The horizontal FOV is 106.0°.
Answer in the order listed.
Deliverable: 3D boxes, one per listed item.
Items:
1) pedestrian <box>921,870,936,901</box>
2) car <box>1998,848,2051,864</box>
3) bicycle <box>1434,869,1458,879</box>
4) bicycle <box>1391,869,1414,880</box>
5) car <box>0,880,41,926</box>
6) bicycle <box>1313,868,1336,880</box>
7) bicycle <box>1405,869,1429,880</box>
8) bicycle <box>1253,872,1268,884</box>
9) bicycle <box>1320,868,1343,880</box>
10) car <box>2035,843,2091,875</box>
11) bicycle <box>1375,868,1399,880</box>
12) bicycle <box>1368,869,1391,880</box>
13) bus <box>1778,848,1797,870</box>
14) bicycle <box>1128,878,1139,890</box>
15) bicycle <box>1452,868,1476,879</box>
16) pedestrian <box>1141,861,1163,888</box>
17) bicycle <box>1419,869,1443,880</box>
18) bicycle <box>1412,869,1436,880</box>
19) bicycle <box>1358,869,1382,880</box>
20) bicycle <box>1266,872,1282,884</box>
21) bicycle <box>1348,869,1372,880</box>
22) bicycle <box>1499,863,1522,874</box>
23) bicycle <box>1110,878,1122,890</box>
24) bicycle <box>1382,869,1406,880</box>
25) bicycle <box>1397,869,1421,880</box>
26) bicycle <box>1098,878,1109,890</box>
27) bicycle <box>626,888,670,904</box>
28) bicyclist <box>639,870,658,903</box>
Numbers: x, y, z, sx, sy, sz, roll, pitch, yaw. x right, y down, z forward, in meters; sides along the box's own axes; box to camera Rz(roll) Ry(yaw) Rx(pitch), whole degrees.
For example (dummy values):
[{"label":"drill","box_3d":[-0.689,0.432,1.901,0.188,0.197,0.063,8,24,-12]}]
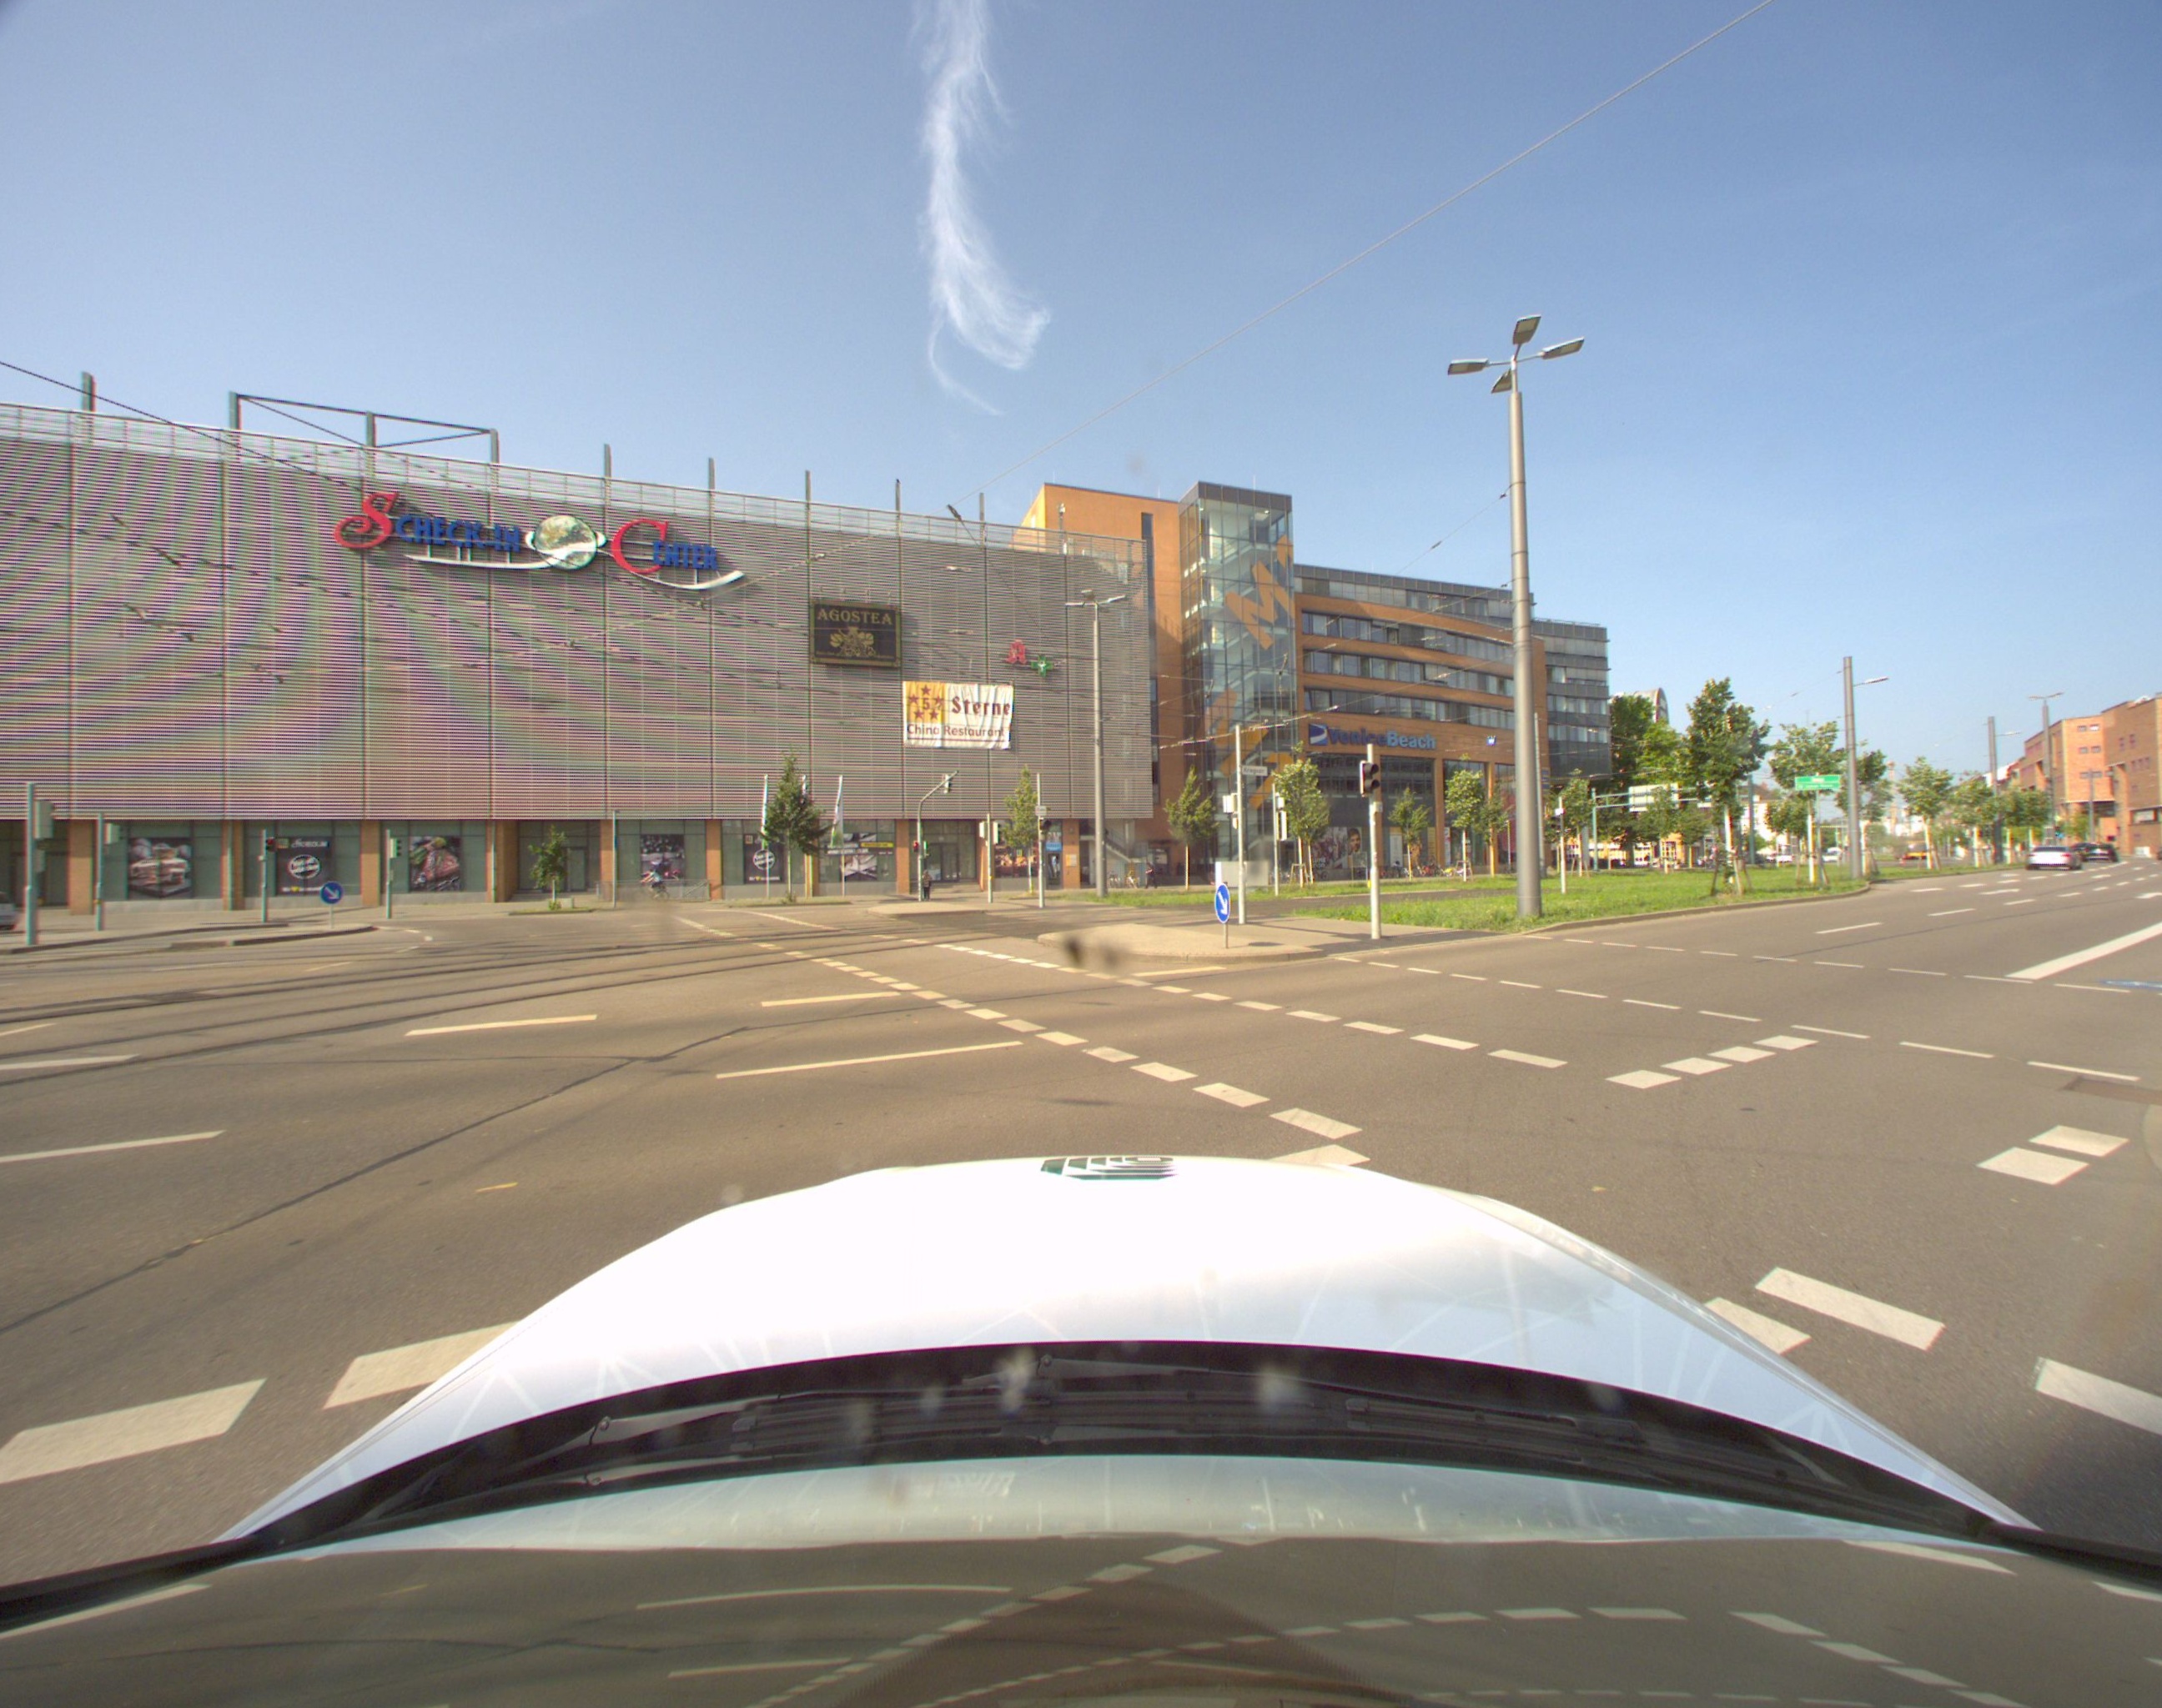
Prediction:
[{"label":"pedestrian","box_3d":[-7.919,1.630,42.269,0.590,1.579,0.758,0,-2,-23]},{"label":"car","box_3d":[100.068,0.212,86.424,1.878,1.624,3.579,0,-1,-43]},{"label":"bicycle","box_3d":[31.644,1.735,70.602,0.574,0.921,2.038,0,-1,-24]},{"label":"bicycle","box_3d":[26.970,1.713,68.343,0.574,0.921,2.038,0,-1,-24]},{"label":"car","box_3d":[-38.757,1.677,27.896,3.402,1.560,1.731,1,-2,-20]},{"label":"bicycle","box_3d":[19.310,1.603,64.699,0.574,0.921,2.038,0,-1,-24]},{"label":"bicycle","box_3d":[28.492,1.732,69.160,0.574,0.921,2.038,0,-1,-24]},{"label":"bicycle","box_3d":[12.881,1.722,58.412,0.257,0.887,1.457,1,-2,-22]},{"label":"bicycle","box_3d":[19.968,1.617,65.035,0.574,0.921,2.038,0,-1,-24]},{"label":"car","box_3d":[56.847,0.335,47.120,3.906,1.756,1.692,2,-3,-35]},{"label":"bicycle","box_3d":[25.377,1.668,67.589,0.574,0.921,2.038,0,-1,-24]},{"label":"bicycle","box_3d":[24.612,1.693,67.163,0.574,0.921,2.038,0,-1,-24]},{"label":"bus","box_3d":[137.414,0.956,158.334,2.720,3.921,12.290,0,-2,42]},{"label":"bicycle","box_3d":[3.432,1.959,53.582,0.361,0.752,1.018,-1,-1,-17]},{"label":"bicycle","box_3d":[33.722,1.731,71.781,0.574,0.921,2.038,0,-1,-24]},{"label":"pedestrian","box_3d":[4.636,1.326,53.077,1.176,1.719,0.815,-1,-1,-19]},{"label":"bicycle","box_3d":[30.064,1.741,70.034,0.574,0.921,2.038,0,-1,-24]},{"label":"bicycle","box_3d":[29.269,1.750,69.603,0.574,0.921,2.038,0,-1,-24]},{"label":"bicycle","box_3d":[23.675,1.691,66.771,0.574,0.921,2.038,0,-1,-24]},{"label":"bicycle","box_3d":[13.999,1.750,59.085,0.257,0.830,1.457,1,0,-22]},{"label":"bicycle","box_3d":[22.675,1.669,66.189,0.574,0.921,2.038,0,-1,-24]},{"label":"bicycle","box_3d":[35.347,1.229,67.073,0.709,0.907,1.670,0,-1,-19]},{"label":"bicycle","box_3d":[2.303,1.976,53.203,0.452,0.752,1.000,-1,-1,-18]},{"label":"bicycle","box_3d":[26.144,1.686,68.017,0.574,0.921,2.038,0,-1,-24]},{"label":"bicycle","box_3d":[27.719,1.747,68.779,0.574,0.921,2.038,0,-1,-24]},{"label":"bicycle","box_3d":[1.464,1.968,52.902,0.452,0.752,1.000,-1,-1,-18]},{"label":"bicycle","box_3d":[-21.973,2.120,41.392,1.867,0.780,0.579,1,-2,-17]},{"label":"bicyclist","box_3d":[-21.962,1.643,41.401,0.714,1.630,0.565,1,-2,-17]}]
